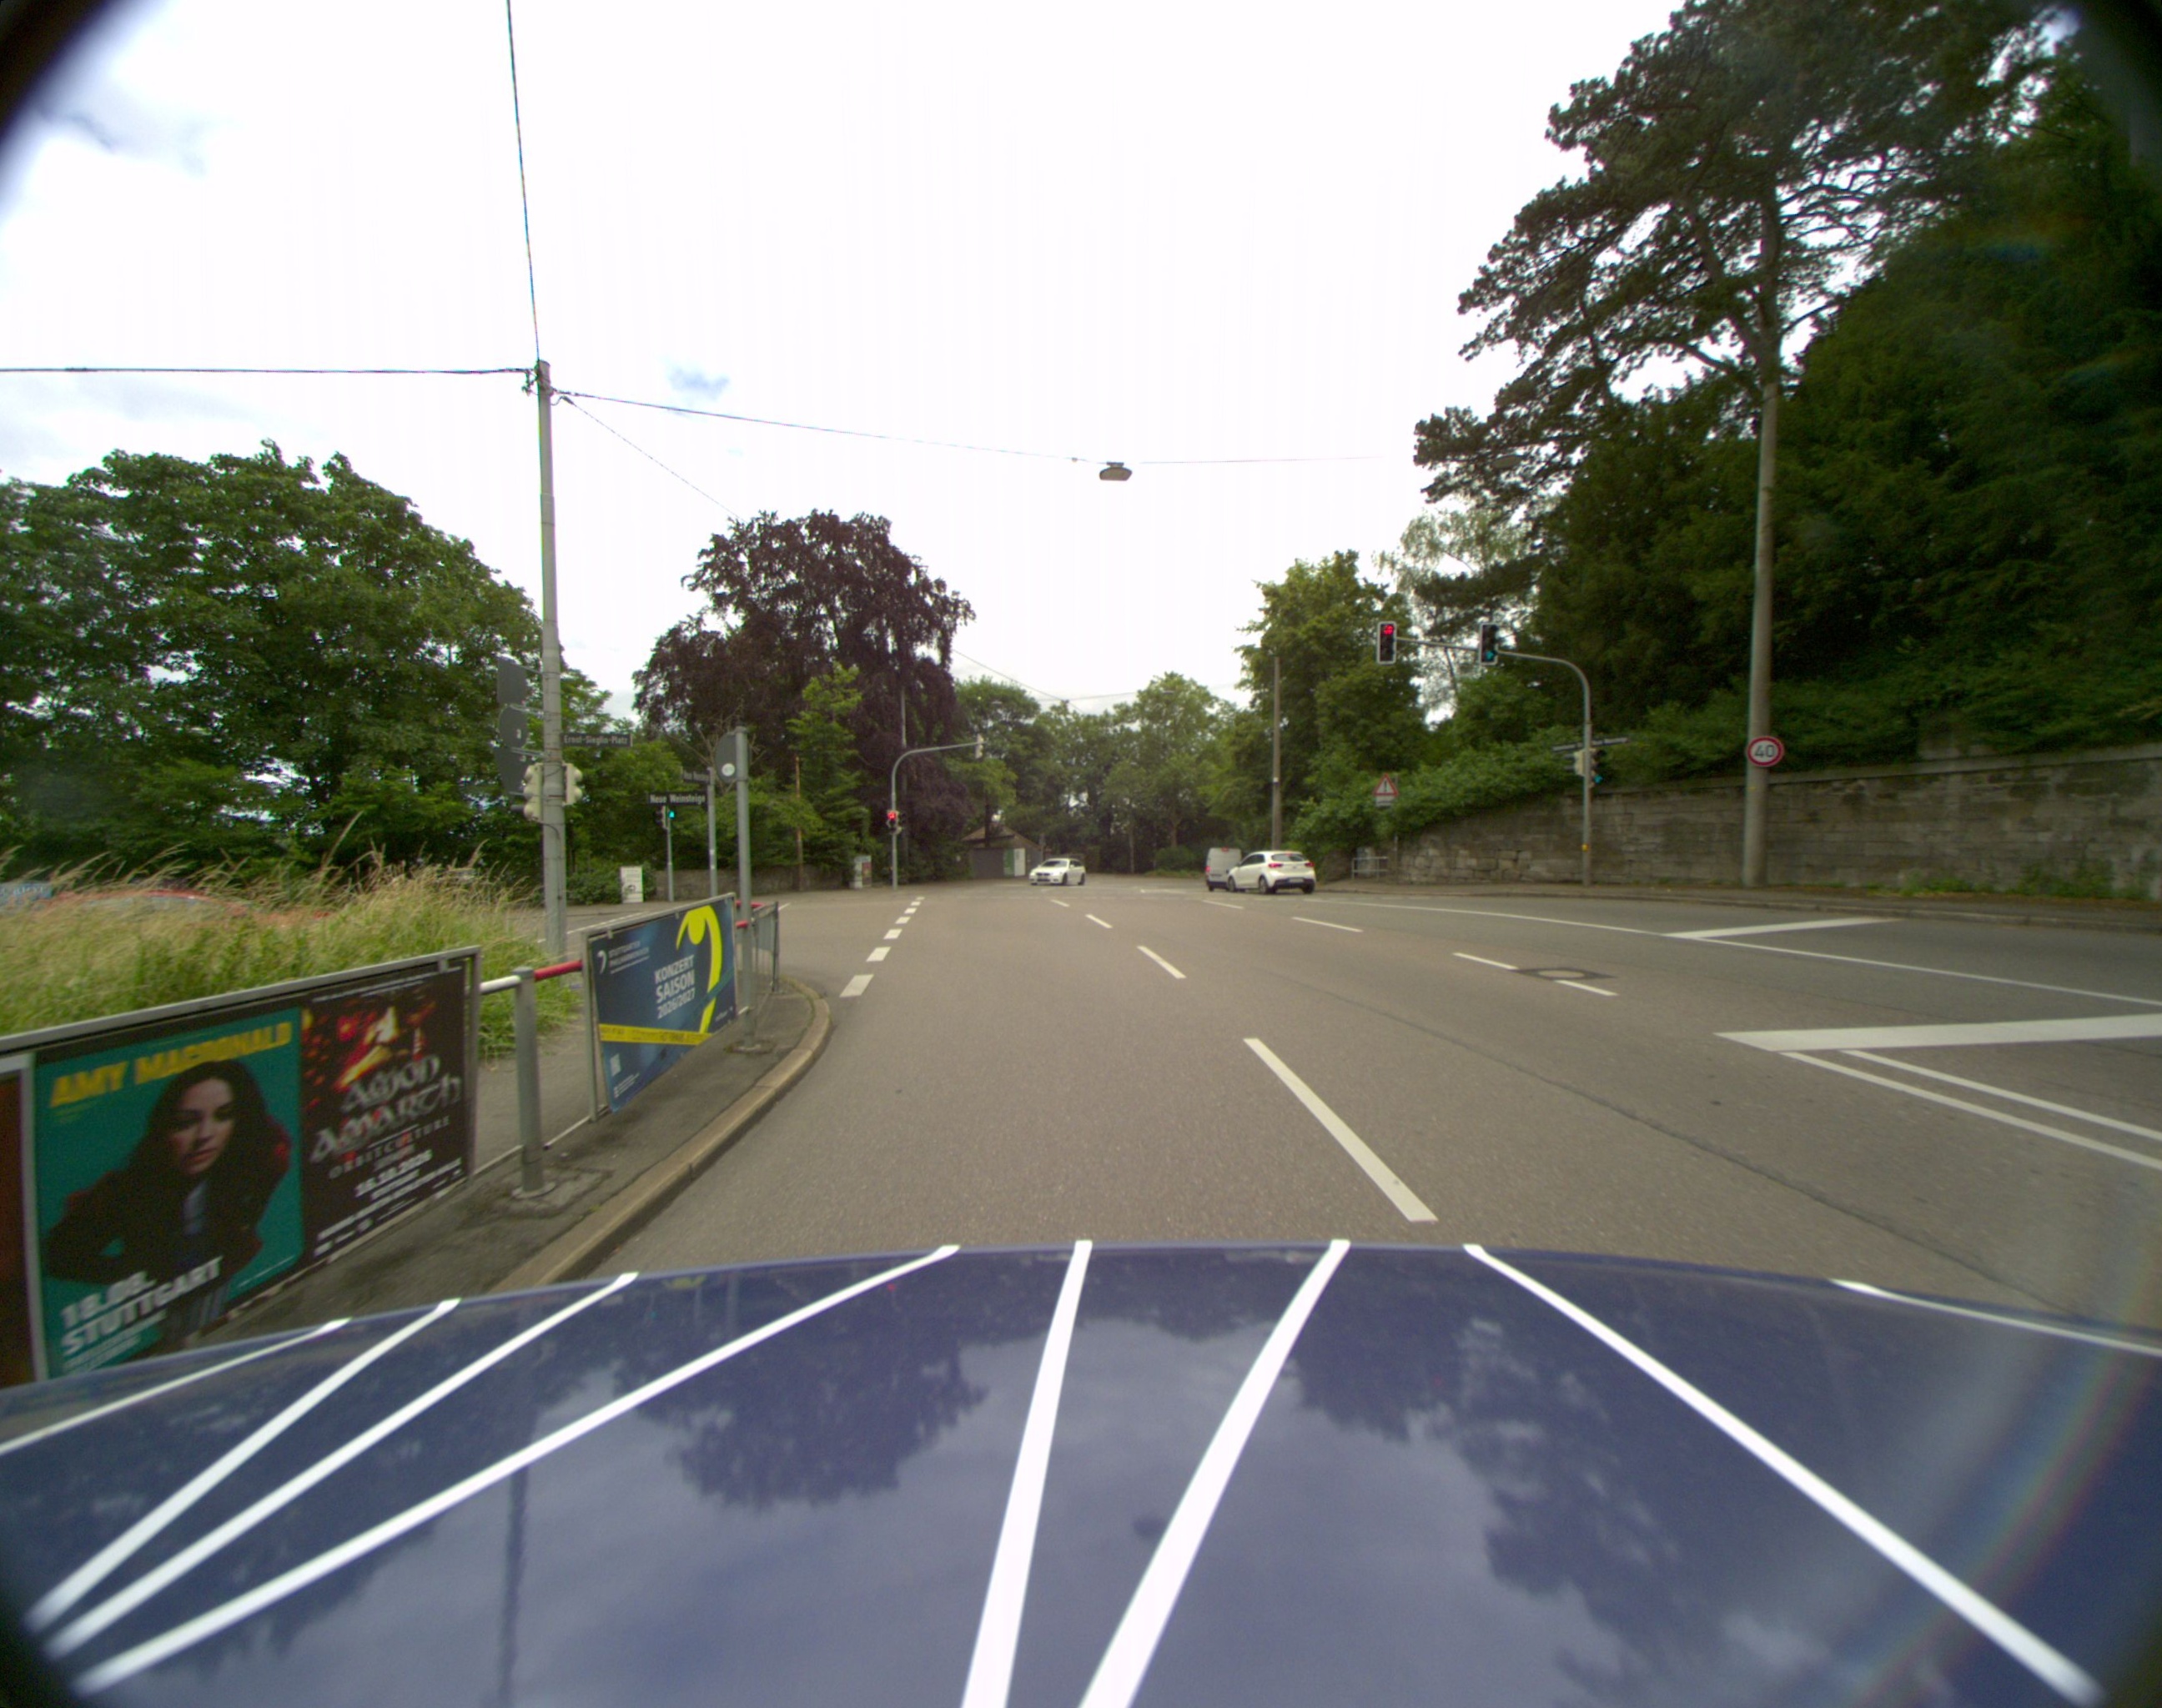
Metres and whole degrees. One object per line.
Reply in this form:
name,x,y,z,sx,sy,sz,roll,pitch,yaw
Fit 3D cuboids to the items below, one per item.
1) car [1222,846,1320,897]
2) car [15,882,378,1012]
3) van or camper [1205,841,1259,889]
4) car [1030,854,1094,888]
car,6.438,0.571,26.239,1.641,1.547,4.110,-3,0,-11
car,-14.373,1.398,12.717,3.706,1.497,1.646,-4,5,-44
van or camper,8.966,0.723,44.836,2.204,2.530,5.370,0,-3,21
car,-0.921,0.858,40.727,1.820,1.463,4.790,5,3,18
